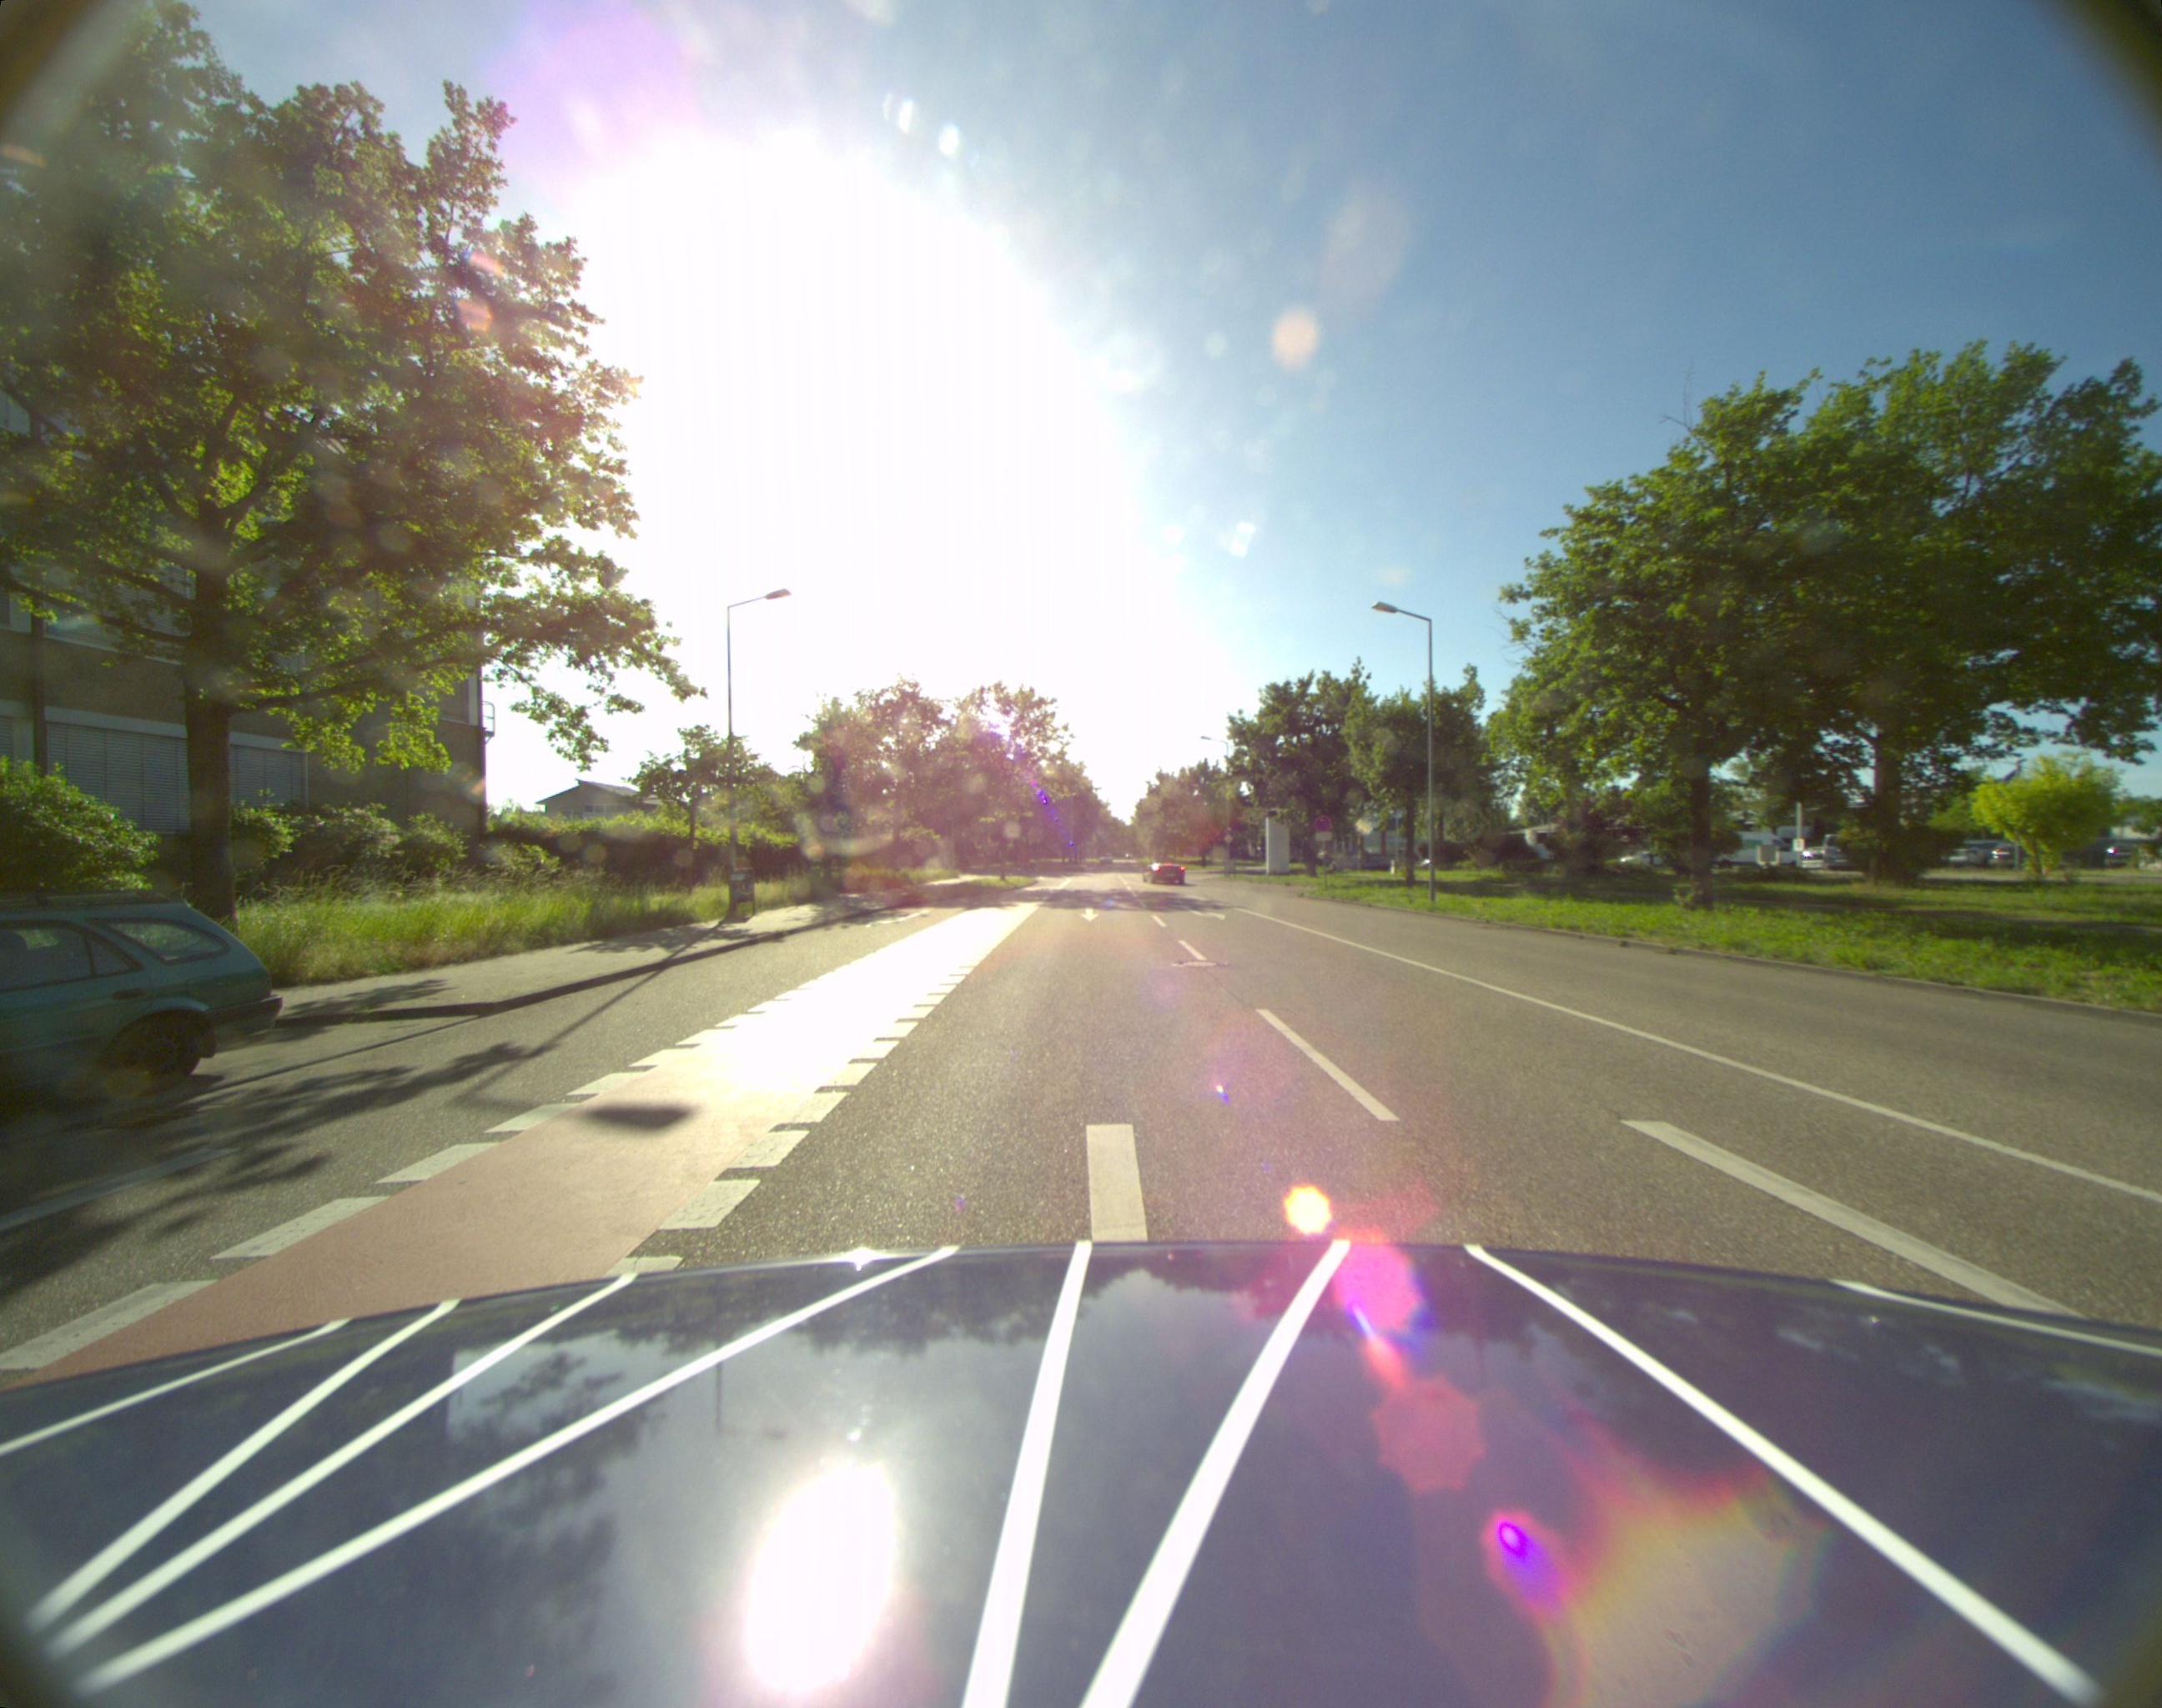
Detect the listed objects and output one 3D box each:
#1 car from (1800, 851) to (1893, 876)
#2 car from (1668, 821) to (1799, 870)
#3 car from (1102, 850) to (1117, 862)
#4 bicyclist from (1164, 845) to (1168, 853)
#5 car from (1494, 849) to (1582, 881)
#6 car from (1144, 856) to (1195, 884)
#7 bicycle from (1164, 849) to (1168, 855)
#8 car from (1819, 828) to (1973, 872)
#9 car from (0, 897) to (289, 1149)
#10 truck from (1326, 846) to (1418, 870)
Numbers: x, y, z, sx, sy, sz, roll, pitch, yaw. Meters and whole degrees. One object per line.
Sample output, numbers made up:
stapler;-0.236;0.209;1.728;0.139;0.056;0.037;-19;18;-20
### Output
car;41.280;0.499;41.007;3.532;1.294;1.574;-1;1;-2
car;39.642;-0.536;46.268;6.176;2.687;2.300;-2;1;-3
car;3.854;0.287;103.948;1.827;1.477;3.999;-2;1;1
bicyclist;16.384;-0.963;146.565;0.665;1.620;0.659;-2;2;3
car;39.908;0.940;66.430;6.356;2.501;2.300;-2;1;-3
car;4.813;0.822;41.960;1.999;1.395;4.586;2;0;-4
bicycle;16.391;-0.357;146.655;0.552;1.155;2.334;-2;1;3
car;40.736;-0.207;38.079;5.424;2.058;2.300;-1;1;-3
car;-7.465;1.103;4.244;1.596;1.420;4.203;1;1;2
truck;25.037;0.337;65.488;7.130;2.038;2.140;0;1;-2
